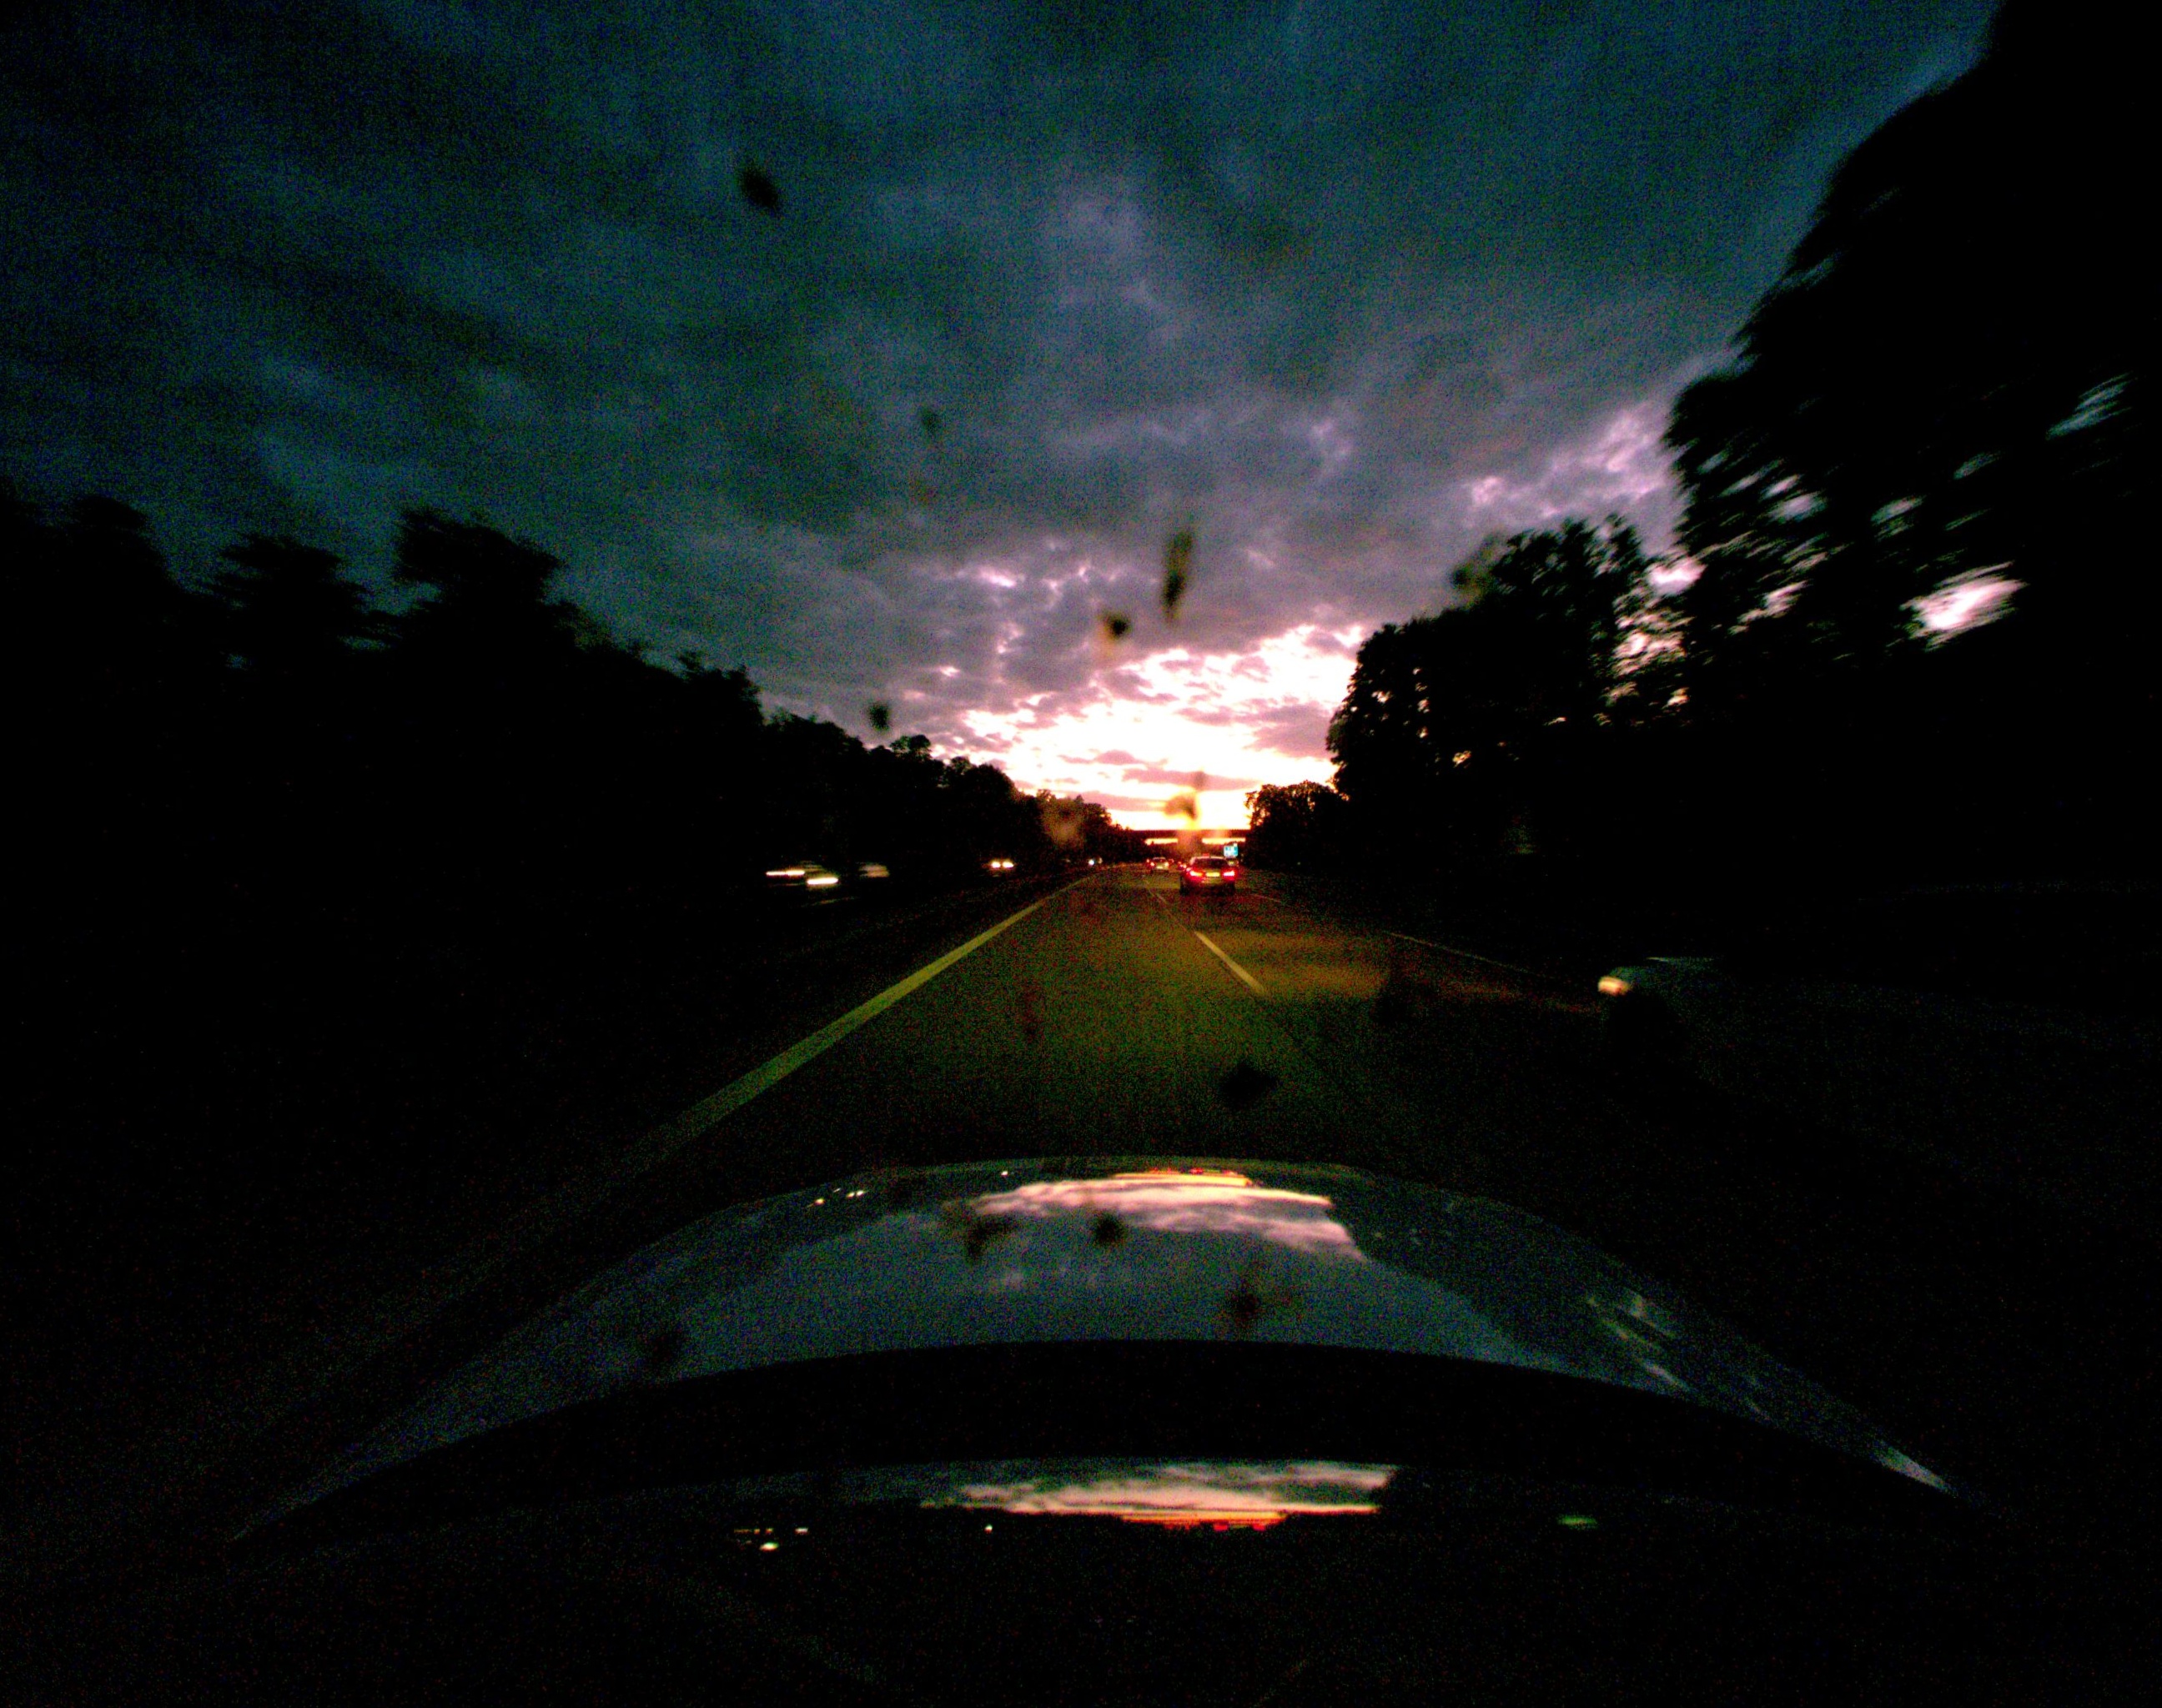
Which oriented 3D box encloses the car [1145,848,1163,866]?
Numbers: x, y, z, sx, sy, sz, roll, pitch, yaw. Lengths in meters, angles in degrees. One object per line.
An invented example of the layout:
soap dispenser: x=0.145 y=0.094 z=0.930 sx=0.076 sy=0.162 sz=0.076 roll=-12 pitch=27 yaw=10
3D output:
car: x=10.231 y=0.419 z=114.000 sx=2.154 sy=2.419 sz=5.575 roll=-1 pitch=-2 yaw=8

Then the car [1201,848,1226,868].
car: x=11.511 y=0.355 z=71.099 sx=1.893 sy=1.643 sz=5.060 roll=-1 pitch=-1 yaw=6

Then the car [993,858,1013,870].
car: x=-9.752 y=1.183 z=101.980 sx=1.834 sy=1.455 sz=3.606 roll=-1 pitch=0 yaw=4

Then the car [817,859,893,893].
car: x=-9.967 y=0.936 z=36.266 sx=1.807 sy=1.380 sz=4.911 roll=0 pitch=0 yaw=2

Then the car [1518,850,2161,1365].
car: x=4.109 y=0.744 z=3.538 sx=1.802 sy=1.466 sz=5.134 roll=-1 pitch=1 yaw=2

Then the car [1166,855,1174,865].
car: x=23.611 y=1.558 z=215.670 sx=2.155 sy=2.419 sz=5.572 roll=-1 pitch=-2 yaw=6

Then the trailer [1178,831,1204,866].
trailer: x=13.757 y=-0.592 z=102.464 sx=2.893 sy=4.101 sz=10.371 roll=0 pitch=-2 yaw=5

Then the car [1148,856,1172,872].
car: x=7.620 y=0.957 z=78.489 sx=1.854 sy=1.442 sz=3.718 roll=-1 pitch=0 yaw=-1

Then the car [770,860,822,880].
car: x=-20.179 y=1.100 z=57.884 sx=1.807 sy=1.380 sz=4.911 roll=0 pitch=0 yaw=2

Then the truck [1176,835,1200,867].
truck: x=14.799 y=-0.314 z=113.009 sx=2.871 sy=4.101 sz=10.846 roll=0 pitch=-2 yaw=5

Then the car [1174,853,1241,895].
car: x=5.028 y=0.747 z=33.044 sx=1.903 sy=1.537 sz=5.231 roll=-1 pitch=0 yaw=0

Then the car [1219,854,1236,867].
car: x=17.694 y=0.793 z=98.626 sx=1.849 sy=1.442 sz=4.120 roll=-1 pitch=-1 yaw=8
